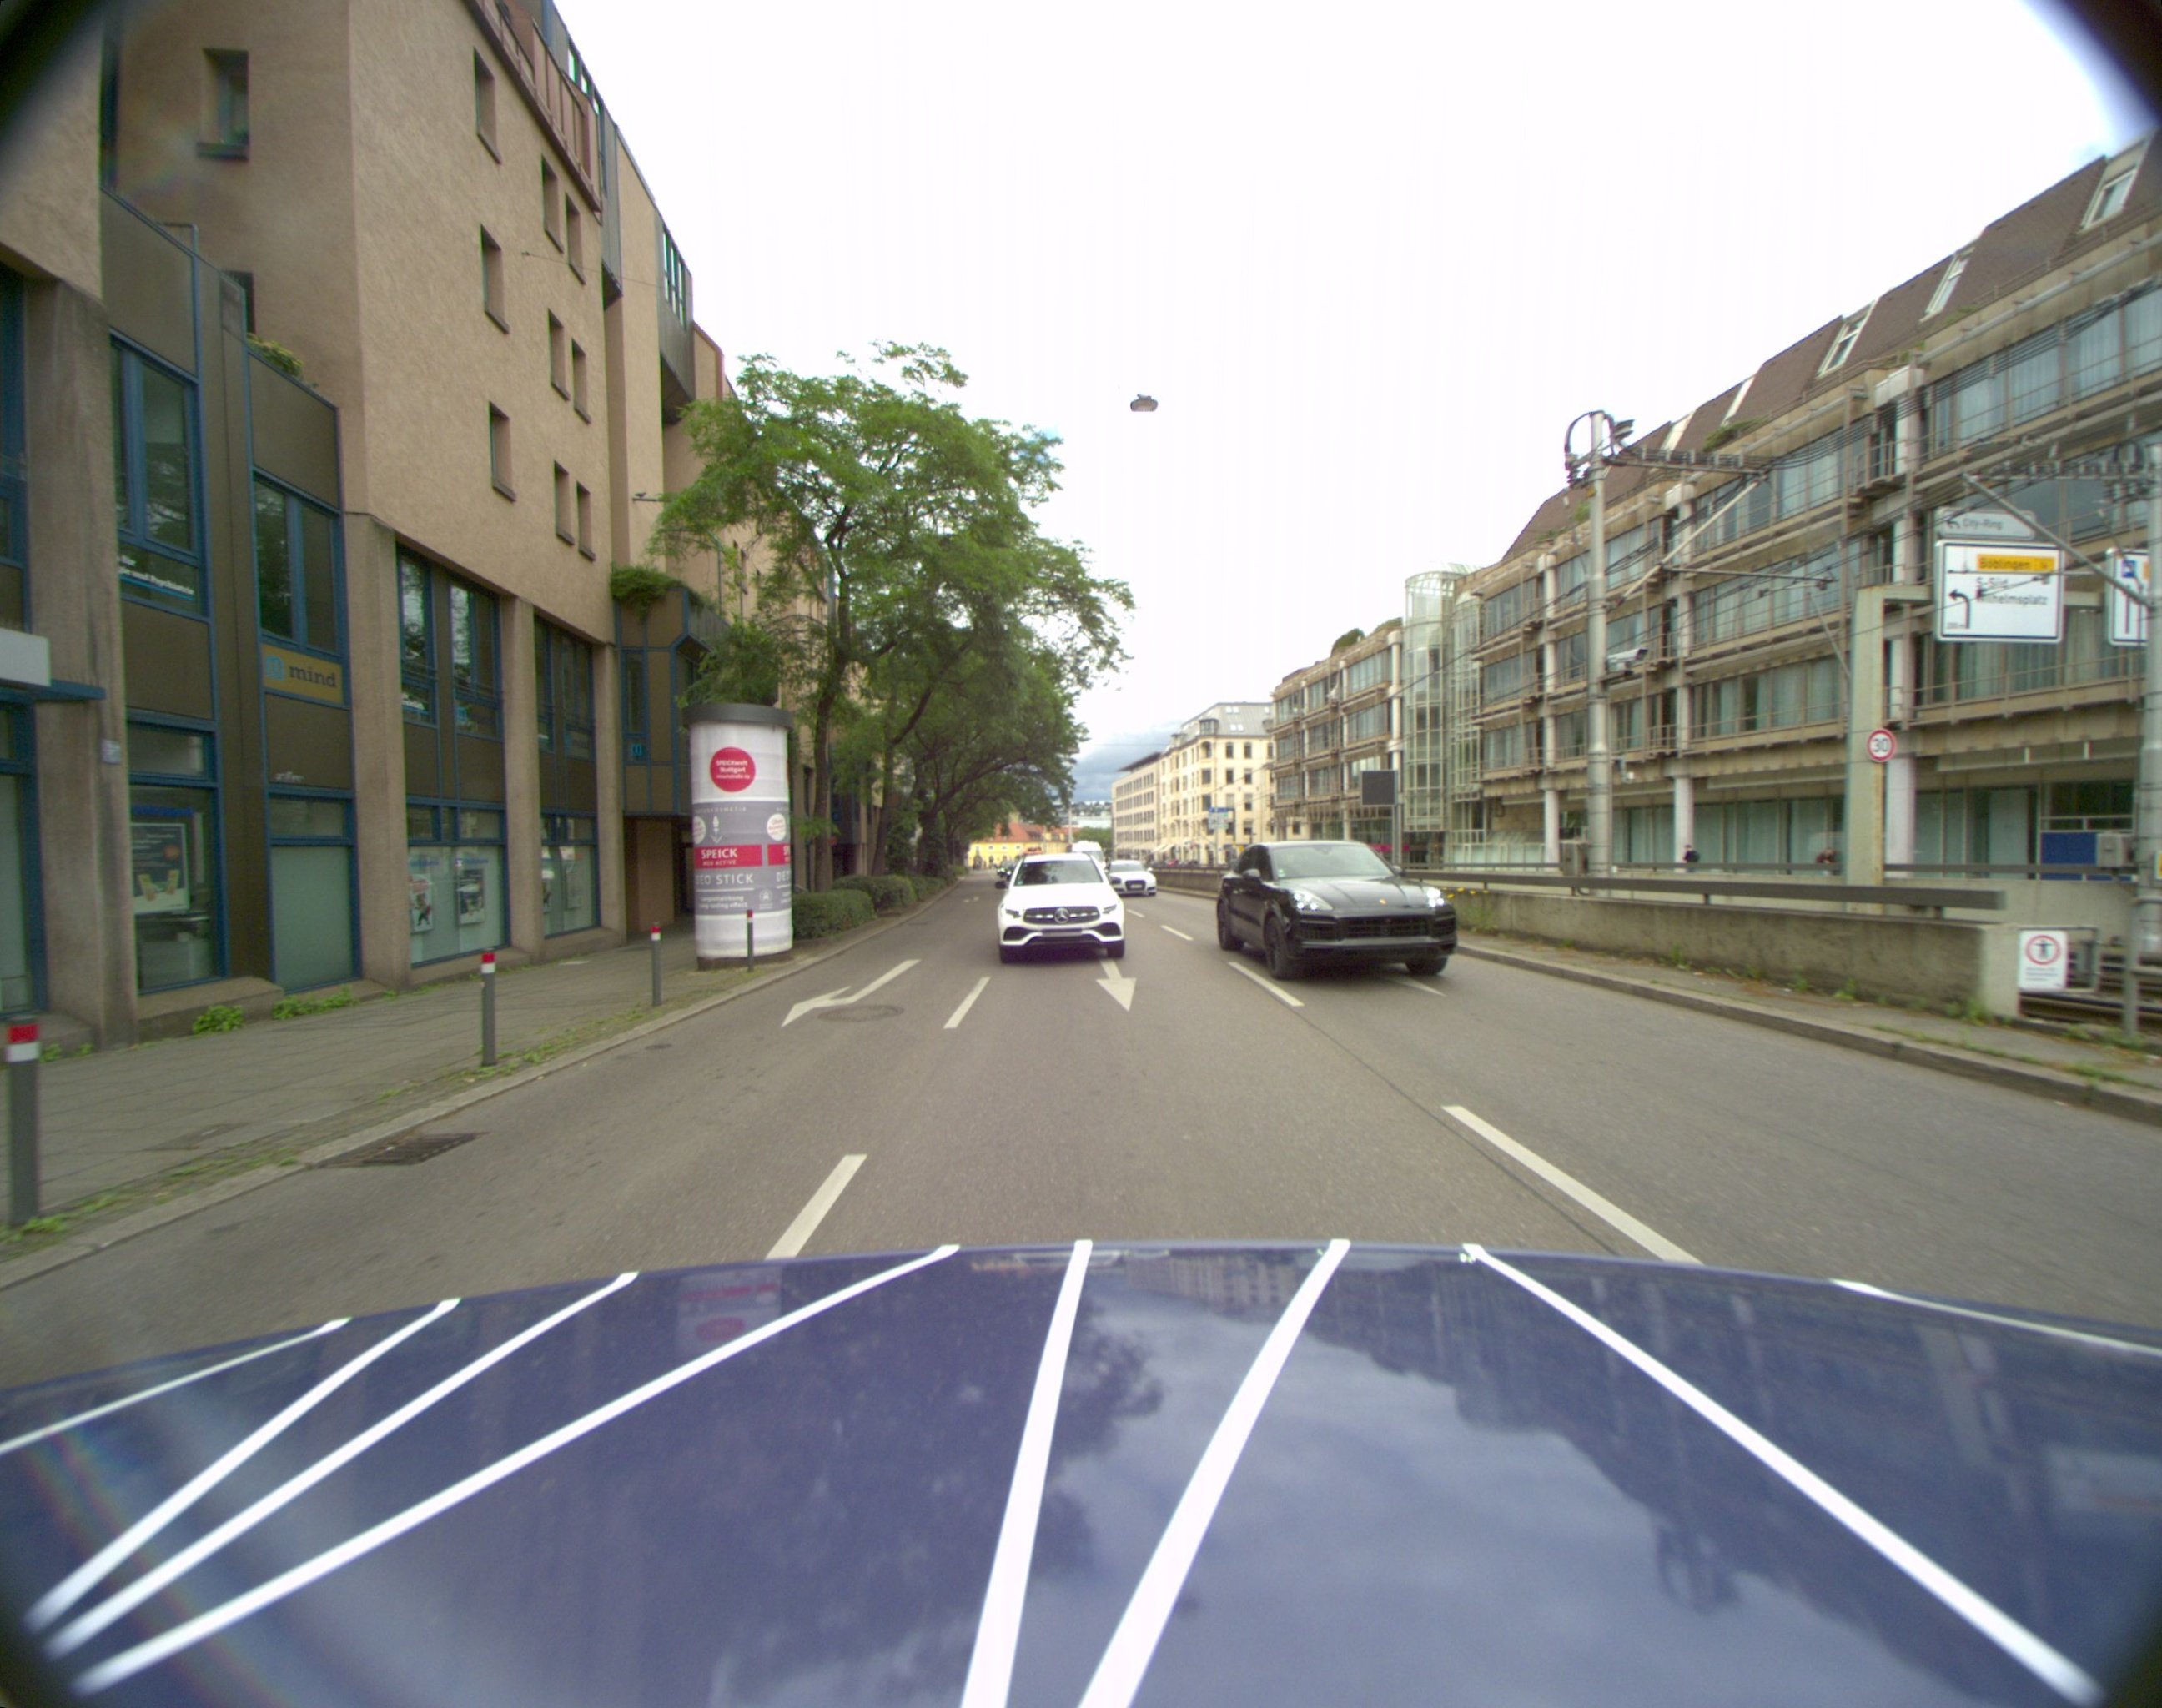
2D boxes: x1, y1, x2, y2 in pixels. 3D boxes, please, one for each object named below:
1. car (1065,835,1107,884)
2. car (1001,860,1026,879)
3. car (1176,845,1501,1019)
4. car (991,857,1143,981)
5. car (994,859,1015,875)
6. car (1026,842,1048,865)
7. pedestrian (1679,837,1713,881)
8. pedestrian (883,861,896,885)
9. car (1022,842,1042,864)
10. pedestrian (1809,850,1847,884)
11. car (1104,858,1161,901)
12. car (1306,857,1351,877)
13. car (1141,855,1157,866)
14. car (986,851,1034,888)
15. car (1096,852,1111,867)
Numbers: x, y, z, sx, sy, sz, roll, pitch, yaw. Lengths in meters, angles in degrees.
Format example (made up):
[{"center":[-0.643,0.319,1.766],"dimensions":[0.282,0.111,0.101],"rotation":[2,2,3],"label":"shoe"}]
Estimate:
[{"center":[0.314,0.298,46.528],"dimensions":[2.295,2.723,4.753],"rotation":[-3,0,1],"label":"car"},{"center":[-5.962,1.332,67.811],"dimensions":[1.950,1.521,3.999],"rotation":[-3,0,-2],"label":"car"},{"center":[3.002,0.764,10.441],"dimensions":[2.089,1.665,5.348],"rotation":[-3,1,-7],"label":"car"},{"center":[-0.412,0.907,12.501],"dimensions":[2.061,1.599,3.924],"rotation":[-3,0,-7],"label":"car"},{"center":[-8.160,1.381,81.420],"dimensions":[1.950,1.521,3.999],"rotation":[-3,0,-2],"label":"car"},{"center":[-5.577,-0.071,96.366],"dimensions":[2.504,2.793,5.725],"rotation":[-3,0,-5],"label":"car"},{"center":[25.713,0.192,31.782],"dimensions":[0.732,1.801,0.739],"rotation":[-3,1,-6],"label":"pedestrian"},{"center":[-13.802,1.377,54.870],"dimensions":[0.711,1.701,0.687],"rotation":[-2,0,0],"label":"pedestrian"},{"center":[-6.739,-0.112,104.057],"dimensions":[2.504,2.793,5.725],"rotation":[-3,0,-5],"label":"car"},{"center":[29.250,0.497,29.776],"dimensions":[0.732,1.258,0.739],"rotation":[-3,1,-6],"label":"pedestrian"},{"center":[2.067,0.998,31.454],"dimensions":[1.950,1.521,3.999],"rotation":[-3,0,-1],"label":"car"},{"center":[18.872,0.969,58.113],"dimensions":[1.669,1.492,4.411],"rotation":[-1,0,-5],"label":"car"},{"center":[12.244,1.128,136.510],"dimensions":[2.000,2.002,3.998],"rotation":[-1,0,-7],"label":"car"},{"center":[-4.537,0.952,49.601],"dimensions":[2.503,2.144,5.727],"rotation":[-3,0,0],"label":"car"},{"center":[4.784,1.203,164.751],"dimensions":[2.371,3.042,5.466],"rotation":[-3,0,-7],"label":"car"}]
